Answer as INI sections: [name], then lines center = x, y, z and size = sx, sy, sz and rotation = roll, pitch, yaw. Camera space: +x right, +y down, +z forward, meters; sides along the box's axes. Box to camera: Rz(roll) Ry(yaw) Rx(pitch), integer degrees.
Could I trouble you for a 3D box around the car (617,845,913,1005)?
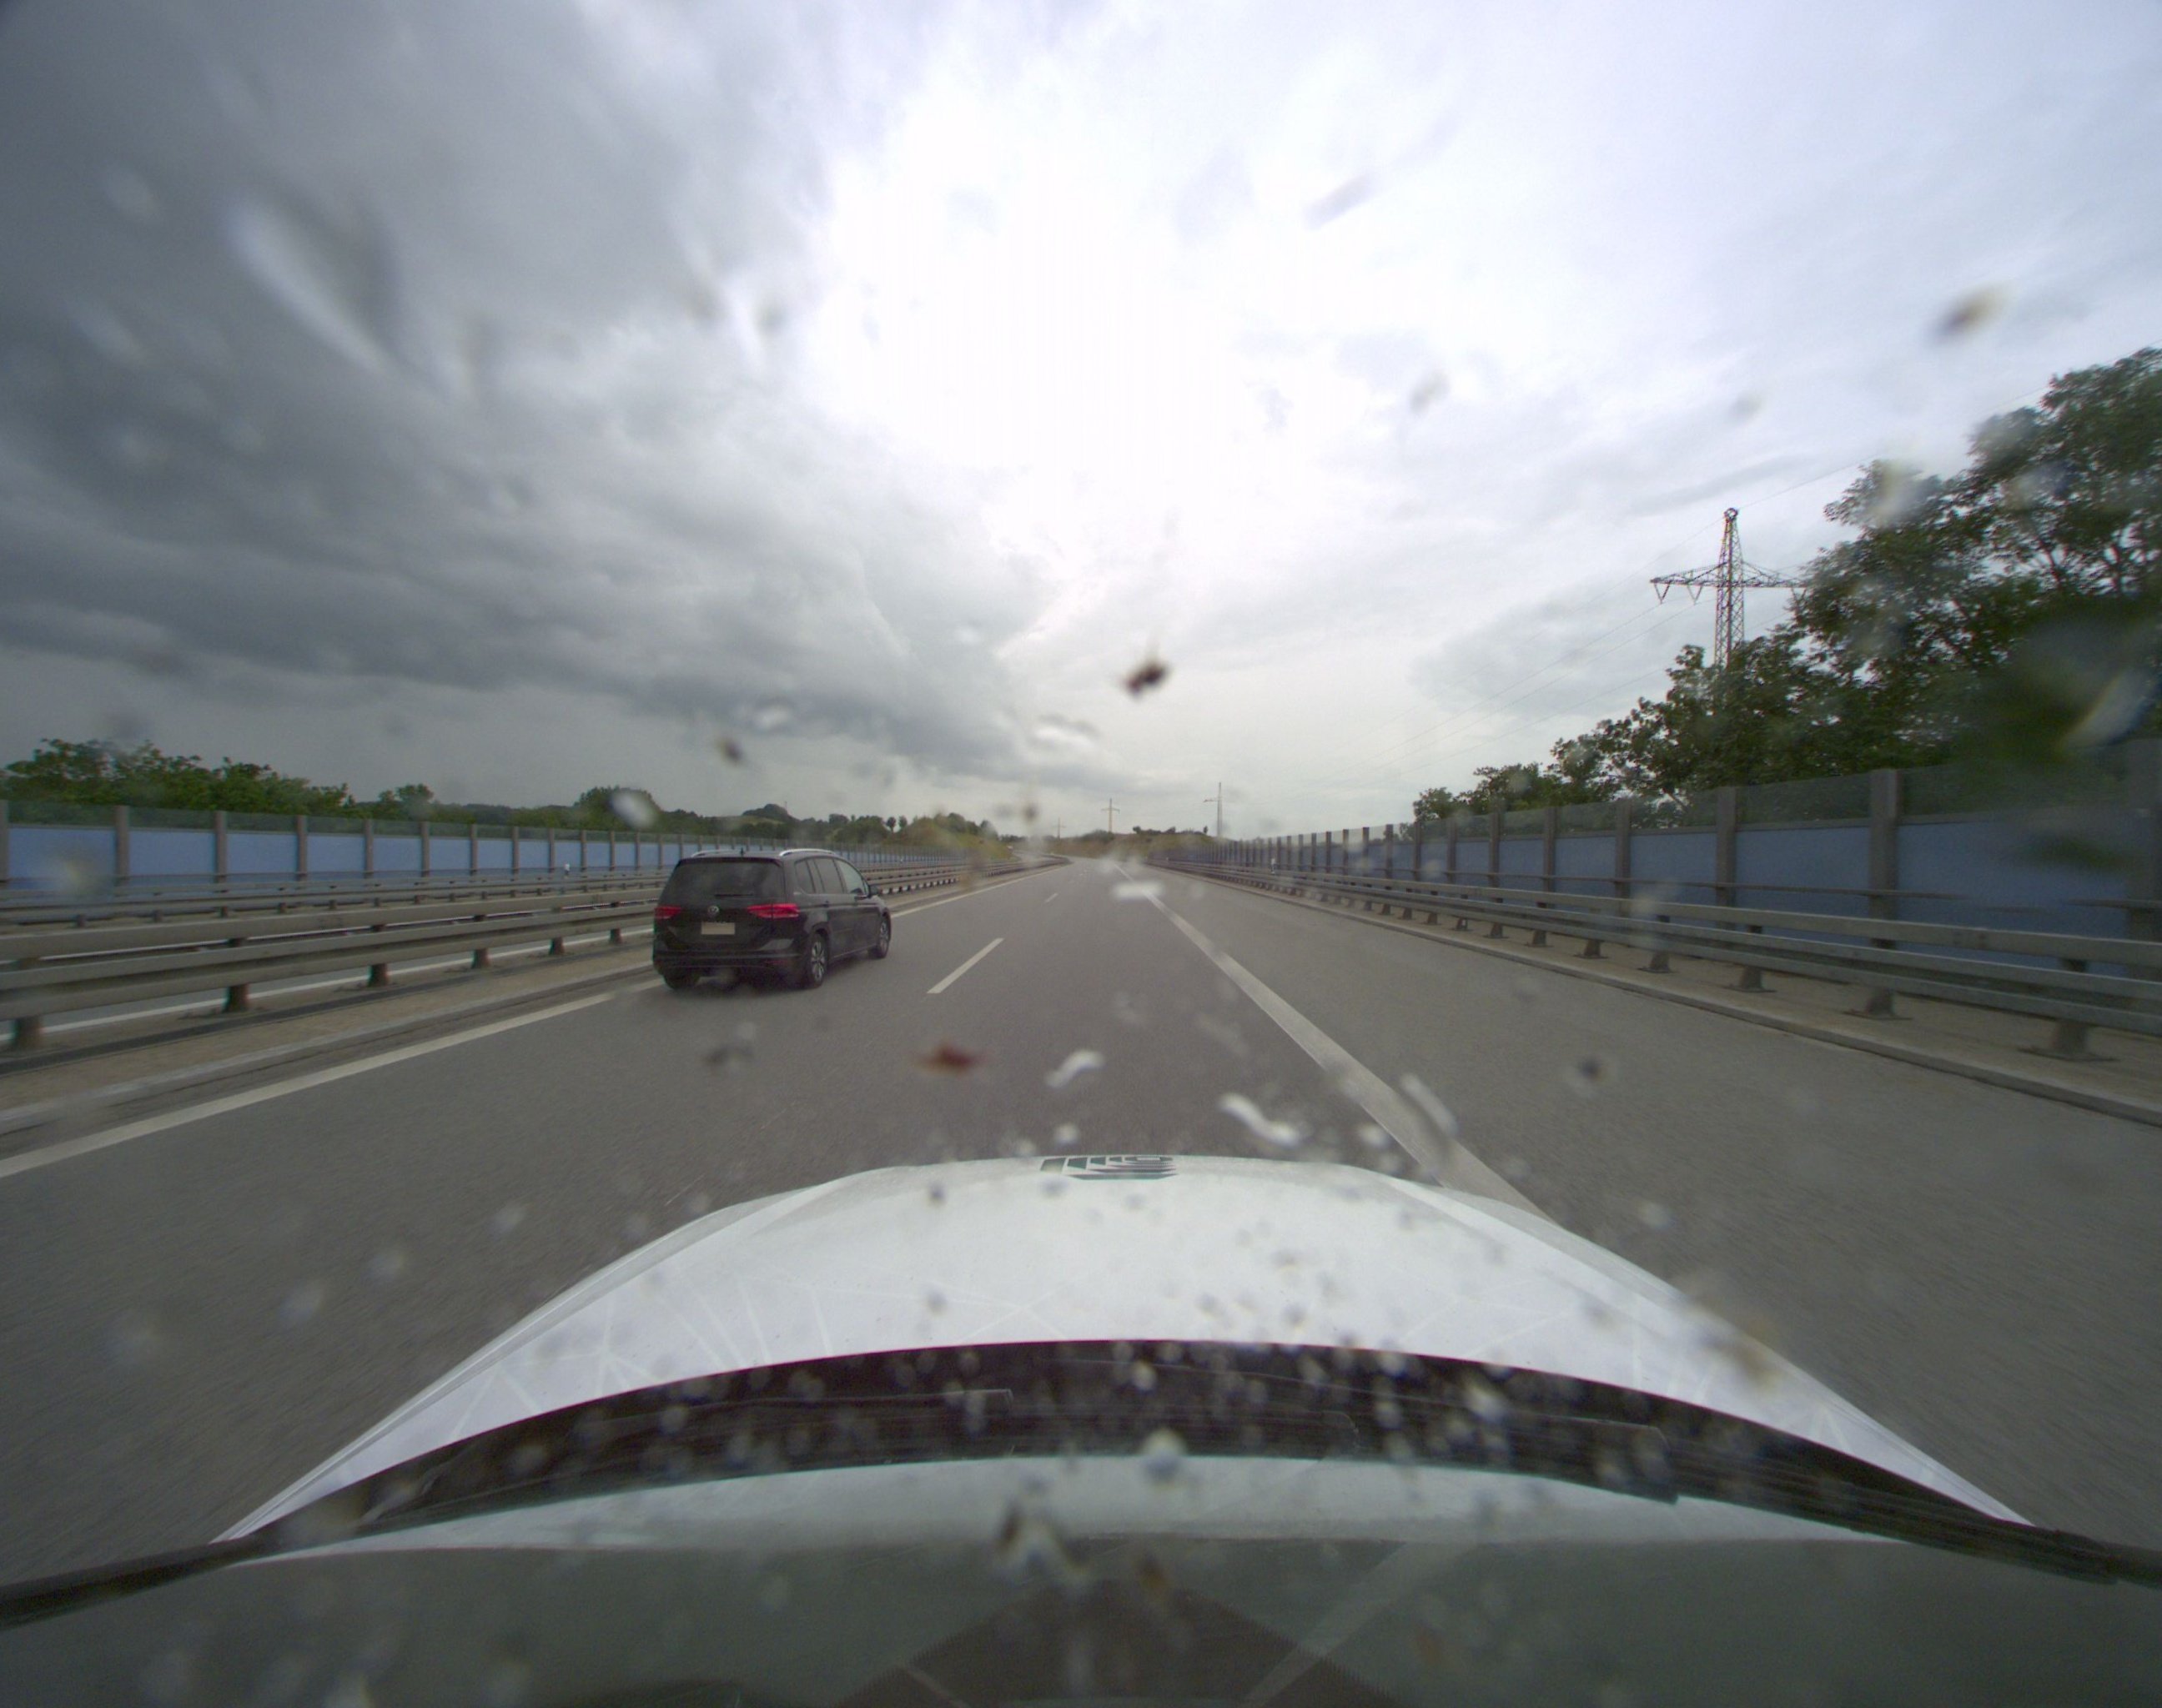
[car]
center = -3.876, 0.739, 11.255
size = 1.889, 1.670, 5.397
rotation = 0, 0, 1
